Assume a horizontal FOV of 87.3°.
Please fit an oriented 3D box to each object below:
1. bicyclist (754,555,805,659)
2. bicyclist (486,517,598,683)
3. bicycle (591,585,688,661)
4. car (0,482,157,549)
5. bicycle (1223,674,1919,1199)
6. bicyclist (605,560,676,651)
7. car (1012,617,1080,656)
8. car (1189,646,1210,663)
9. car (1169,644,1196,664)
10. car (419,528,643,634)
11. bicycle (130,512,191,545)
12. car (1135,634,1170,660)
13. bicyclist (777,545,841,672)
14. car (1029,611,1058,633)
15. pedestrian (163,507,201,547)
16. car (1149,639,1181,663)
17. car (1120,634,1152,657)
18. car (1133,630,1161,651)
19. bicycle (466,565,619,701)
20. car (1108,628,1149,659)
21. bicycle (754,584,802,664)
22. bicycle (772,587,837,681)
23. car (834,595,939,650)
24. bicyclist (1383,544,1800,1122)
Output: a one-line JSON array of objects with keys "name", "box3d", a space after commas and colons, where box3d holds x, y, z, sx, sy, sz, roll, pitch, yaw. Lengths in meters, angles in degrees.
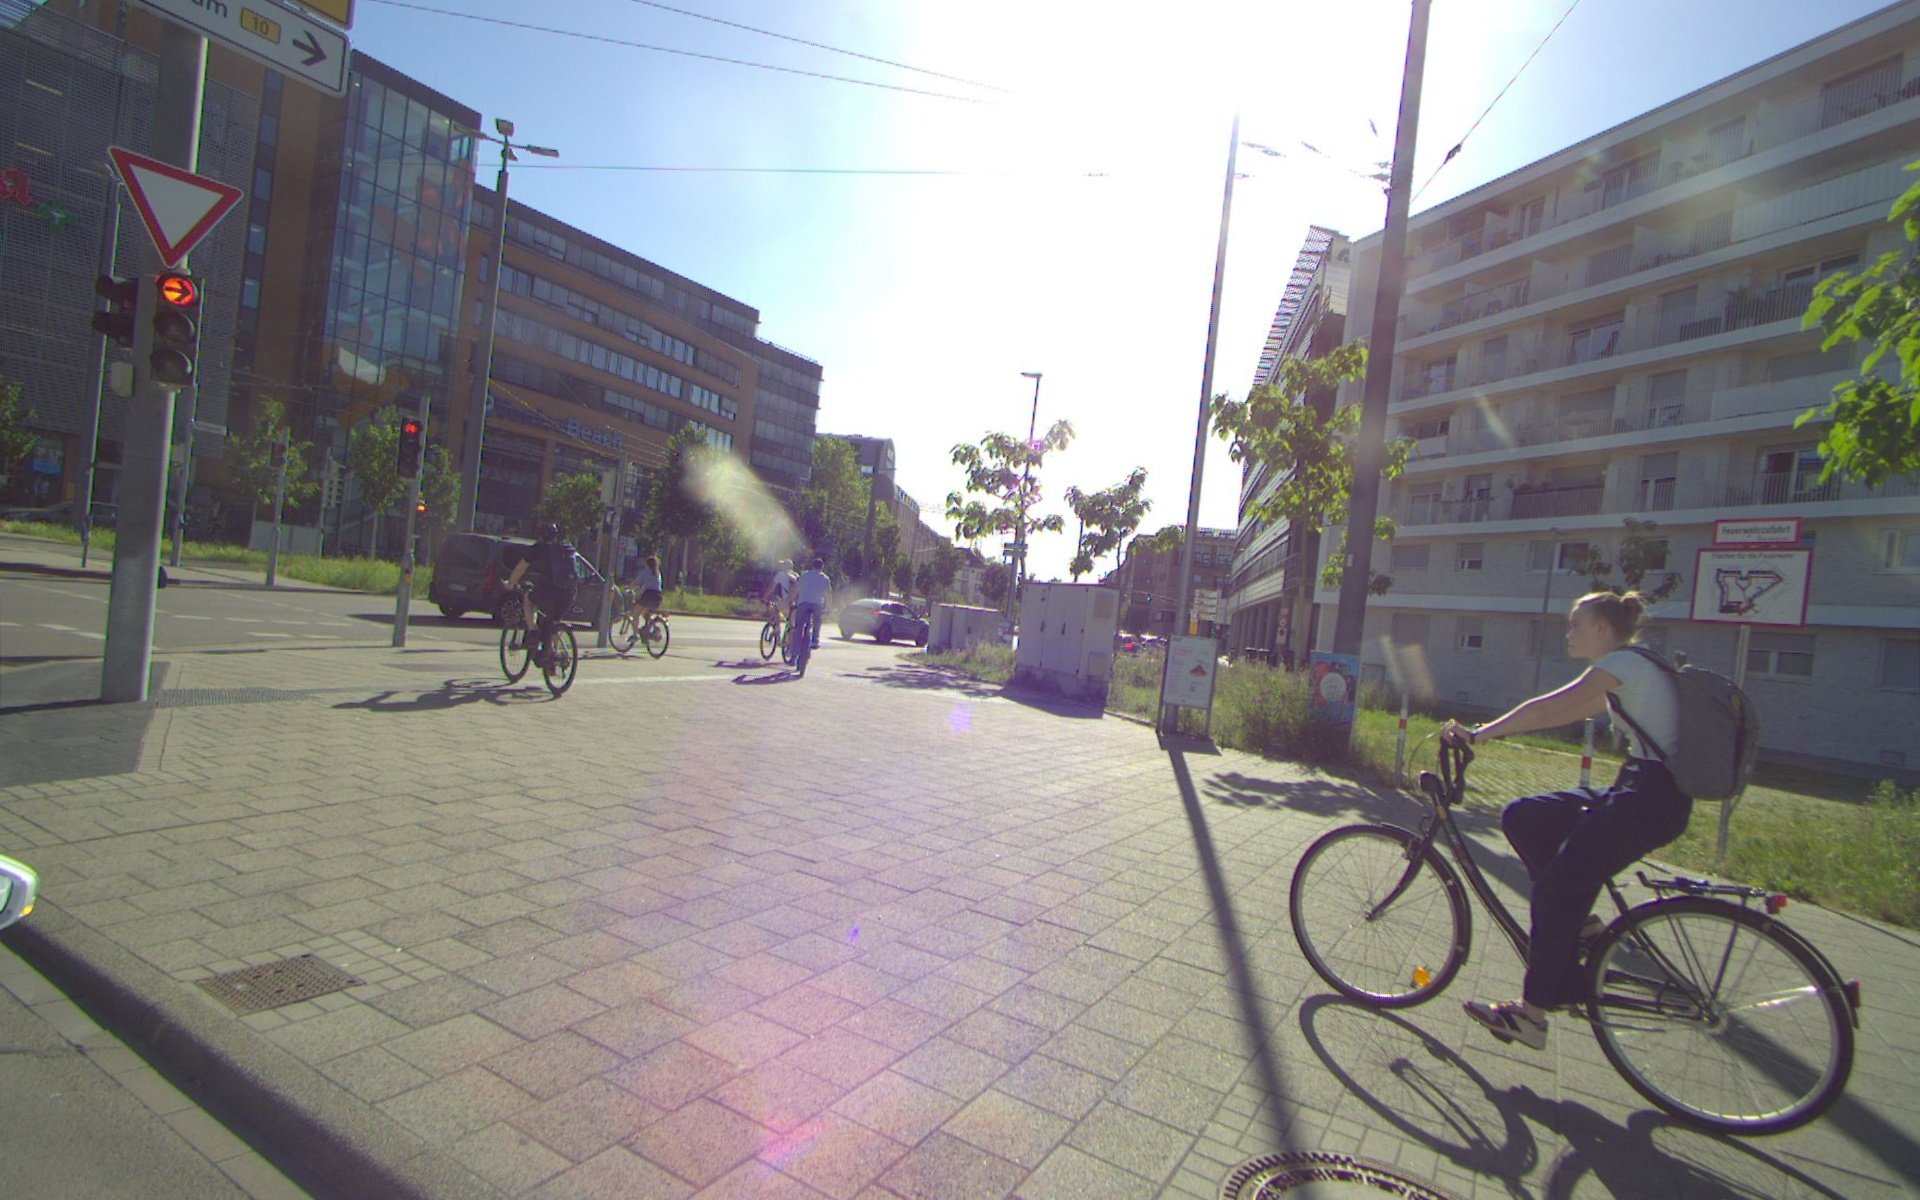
[{"name": "bicyclist", "box3d": [-3.281, 0.132, 18.222, 0.705, 1.746, 1.092, 6, -1, -12]}, {"name": "bicyclist", "box3d": [-4.445, -0.007, 10.681, 0.959, 1.649, 0.628, 7, 0, 44]}, {"name": "bicycle", "box3d": [-5.444, 0.374, 17.032, 1.796, 1.085, 0.666, 5, -1, 43]}, {"name": "car", "box3d": [-32.082, -3.027, 36.452, 1.810, 1.484, 4.161, 6, -5, 30]}, {"name": "bicycle", "box3d": [2.097, 1.008, 3.509, 2.127, 1.212, 0.665, 6, 0, 45]}, {"name": "bicyclist", "box3d": [-5.397, 0.091, 16.995, 0.928, 1.453, 0.665, 4, -1, 42]}, {"name": "car", "box3d": [4.263, 1.828, 49.305, 1.800, 1.479, 4.684, 7, -1, 23]}, {"name": "car", "box3d": [26.701, 6.090, 112.195, 1.677, 1.515, 4.281, 7, -2, 19]}, {"name": "car", "box3d": [19.779, 4.795, 89.220, 1.677, 1.515, 4.281, 7, -2, 19]}, {"name": "car", "box3d": [-9.277, -0.328, 22.219, 1.678, 1.813, 4.472, 7, -1, 24]}, {"name": "bicycle", "box3d": [-40.519, -3.610, 51.035, 0.595, 1.310, 2.260, 7, -2, 30]}, {"name": "car", "box3d": [13.619, 3.366, 71.011, 1.677, 1.515, 4.281, 7, -2, 19]}, {"name": "bicyclist", "box3d": [-2.372, 0.136, 15.903, 0.796, 1.888, 0.749, 6, 0, -6]}, {"name": "car", "box3d": [7.203, 1.913, 86.551, 1.615, 1.665, 3.704, 7, -1, 15]}, {"name": "pedestrian", "box3d": [-39.212, -3.666, 50.708, 1.015, 1.852, 1.015, 7, 2, 9]}, {"name": "car", "box3d": [15.914, 3.994, 77.971, 1.677, 1.515, 4.281, 7, -2, 19]}, {"name": "car", "box3d": [13.910, 3.627, 79.484, 1.677, 1.515, 4.281, 7, -2, 19]}, {"name": "car", "box3d": [16.484, 3.606, 88.380, 1.677, 1.515, 4.281, 7, -2, 19]}, {"name": "bicycle", "box3d": [-4.509, 0.317, 10.773, 2.126, 1.212, 0.634, 6, 0, 44]}, {"name": "car", "box3d": [10.435, 2.714, 62.102, 1.675, 1.591, 4.874, 7, -1, 18]}, {"name": "bicycle", "box3d": [-3.337, 0.432, 18.357, 0.704, 1.343, 1.746, 5, -1, -12]}, {"name": "bicycle", "box3d": [-2.418, 0.523, 15.896, 0.745, 1.316, 2.153, 6, -1, -5]}, {"name": "car", "box3d": [-2.610, 0.847, 36.680, 1.679, 1.531, 4.276, 7, -2, 27]}, {"name": "bicyclist", "box3d": [2.163, 0.687, 3.480, 0.959, 1.649, 0.665, 7, 0, 44]}]
